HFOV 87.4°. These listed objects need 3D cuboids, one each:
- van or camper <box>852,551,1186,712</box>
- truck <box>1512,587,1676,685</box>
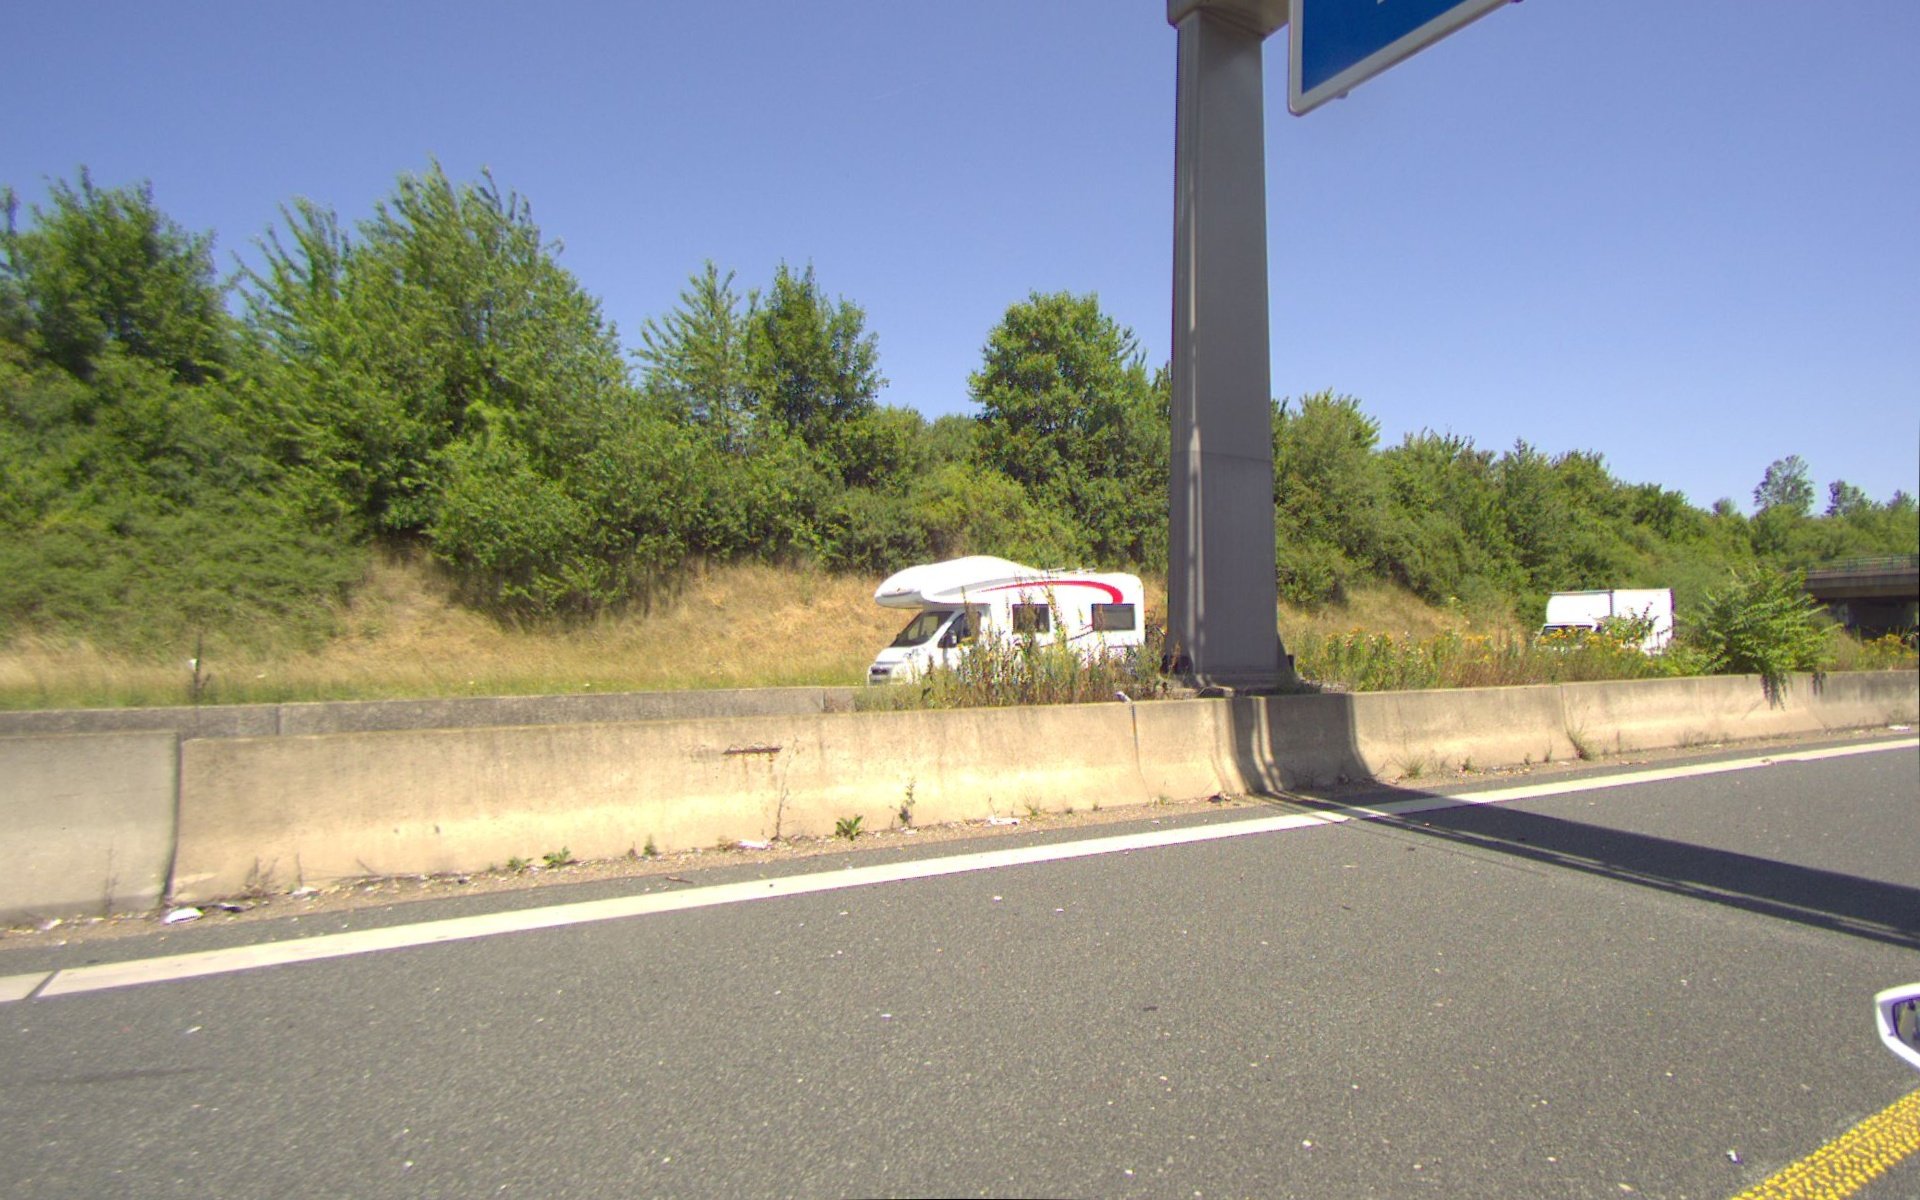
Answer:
[{"bbox_3d":[1.491,0.744,22.867,7.537,3.188,2.424,1,-2,-31],"label":"van or camper"},{"bbox_3d":[23.114,1.301,36.553,6.290,3.302,2.484,1,-2,-30],"label":"truck"}]
